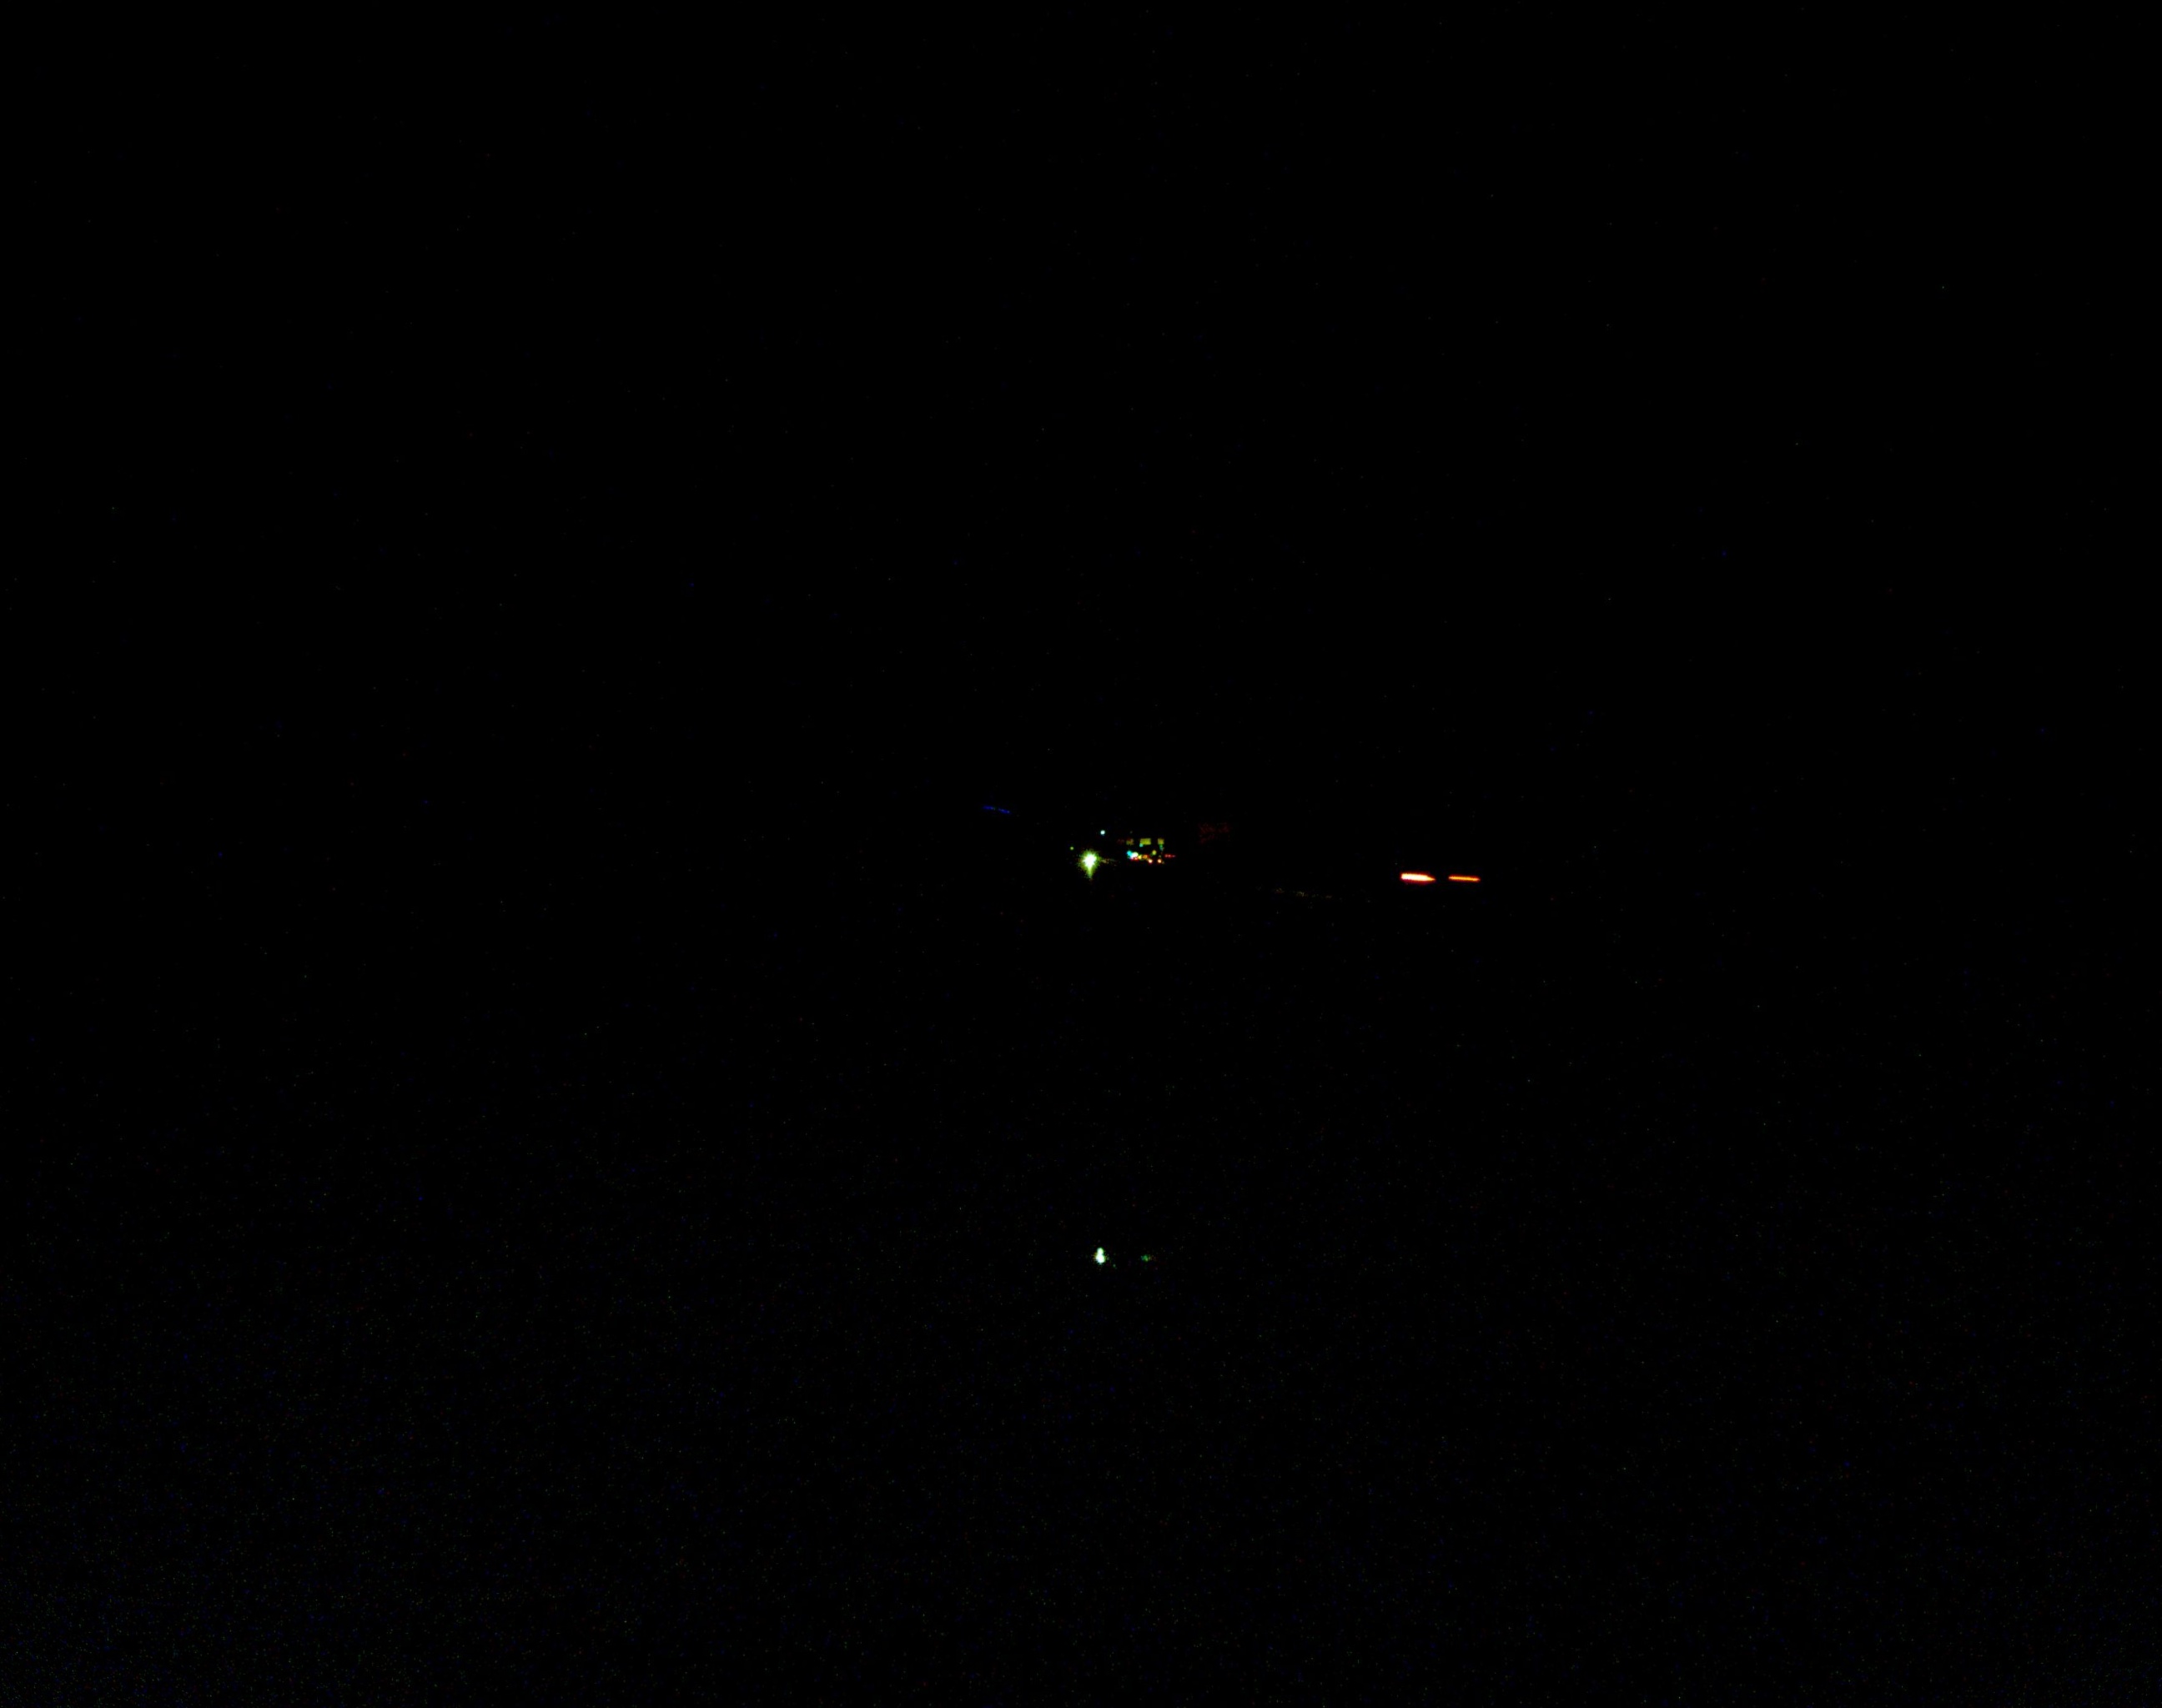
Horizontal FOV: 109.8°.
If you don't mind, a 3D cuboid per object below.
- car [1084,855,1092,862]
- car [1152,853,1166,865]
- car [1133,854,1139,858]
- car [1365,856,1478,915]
[{"bbox_3d":[1.404,0.917,153.652,1.570,1.336,4.166,-2,0,0],"label":"car"},{"bbox_3d":[11.406,0.733,111.226,1.687,1.578,4.166,-2,0,0],"label":"car"},{"bbox_3d":[18.389,0.642,253.800,1.724,1.399,4.574,-2,1,0],"label":"car"},{"bbox_3d":[10.037,0.862,22.711,1.621,1.498,3.868,-2,1,0],"label":"car"}]
